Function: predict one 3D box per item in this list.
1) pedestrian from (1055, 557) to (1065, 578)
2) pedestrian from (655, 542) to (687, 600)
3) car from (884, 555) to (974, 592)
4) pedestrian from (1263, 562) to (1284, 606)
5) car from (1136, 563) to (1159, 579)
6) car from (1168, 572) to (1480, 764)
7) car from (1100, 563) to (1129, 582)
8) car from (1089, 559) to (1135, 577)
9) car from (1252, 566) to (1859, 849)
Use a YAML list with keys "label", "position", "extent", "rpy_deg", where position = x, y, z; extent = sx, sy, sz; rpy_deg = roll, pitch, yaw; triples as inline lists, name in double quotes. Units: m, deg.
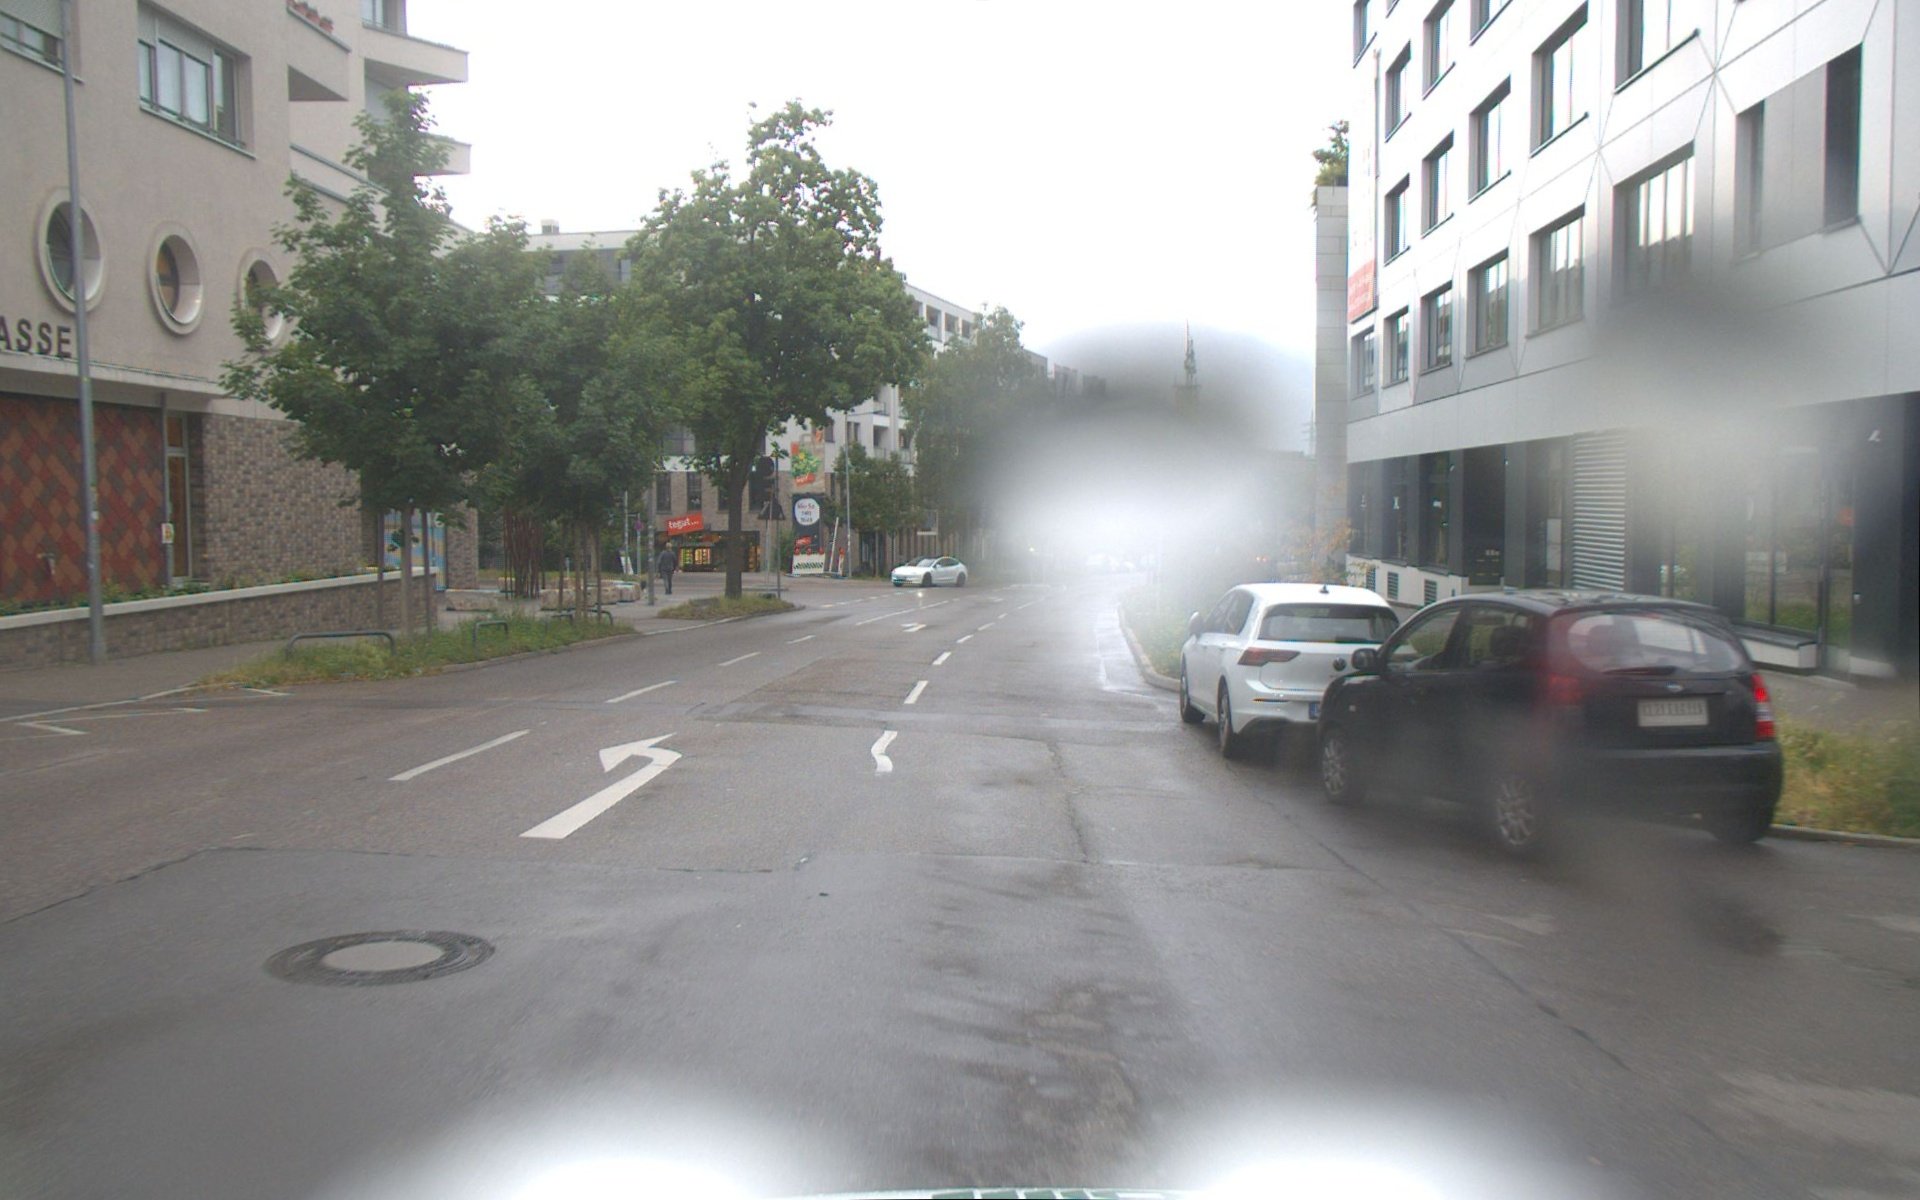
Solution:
- label: "pedestrian"
  position: [8.212, -2.683, 135.517]
  extent: [0.693, 1.712, 0.957]
  rpy_deg: [1, 1, 10]
- label: "pedestrian"
  position: [-10.452, -1.060, 59.801]
  extent: [1.035, 2.049, 1.098]
  rpy_deg: [1, 0, -7]
- label: "car"
  position: [-1.440, -1.250, 78.765]
  extent: [2.020, 1.689, 4.809]
  rpy_deg: [1, 1, 32]
- label: "pedestrian"
  position: [13.116, -0.676, 69.149]
  extent: [0.805, 1.827, 0.779]
  rpy_deg: [0, 0, 8]
- label: "car"
  position: [18.317, -2.840, 161.691]
  extent: [1.873, 1.506, 4.360]
  rpy_deg: [1, 1, 11]
- label: "car"
  position: [3.254, 0.517, 15.744]
  extent: [1.997, 1.490, 4.503]
  rpy_deg: [1, 1, 1]
- label: "car"
  position: [13.318, -2.375, 142.723]
  extent: [1.759, 1.542, 4.248]
  rpy_deg: [1, 1, 16]
- label: "car"
  position: [13.720, -2.896, 149.285]
  extent: [3.898, 1.604, 2.002]
  rpy_deg: [1, 2, 10]
- label: "car"
  position: [3.631, 0.553, 11.000]
  extent: [2.007, 1.483, 4.045]
  rpy_deg: [1, 1, -11]
